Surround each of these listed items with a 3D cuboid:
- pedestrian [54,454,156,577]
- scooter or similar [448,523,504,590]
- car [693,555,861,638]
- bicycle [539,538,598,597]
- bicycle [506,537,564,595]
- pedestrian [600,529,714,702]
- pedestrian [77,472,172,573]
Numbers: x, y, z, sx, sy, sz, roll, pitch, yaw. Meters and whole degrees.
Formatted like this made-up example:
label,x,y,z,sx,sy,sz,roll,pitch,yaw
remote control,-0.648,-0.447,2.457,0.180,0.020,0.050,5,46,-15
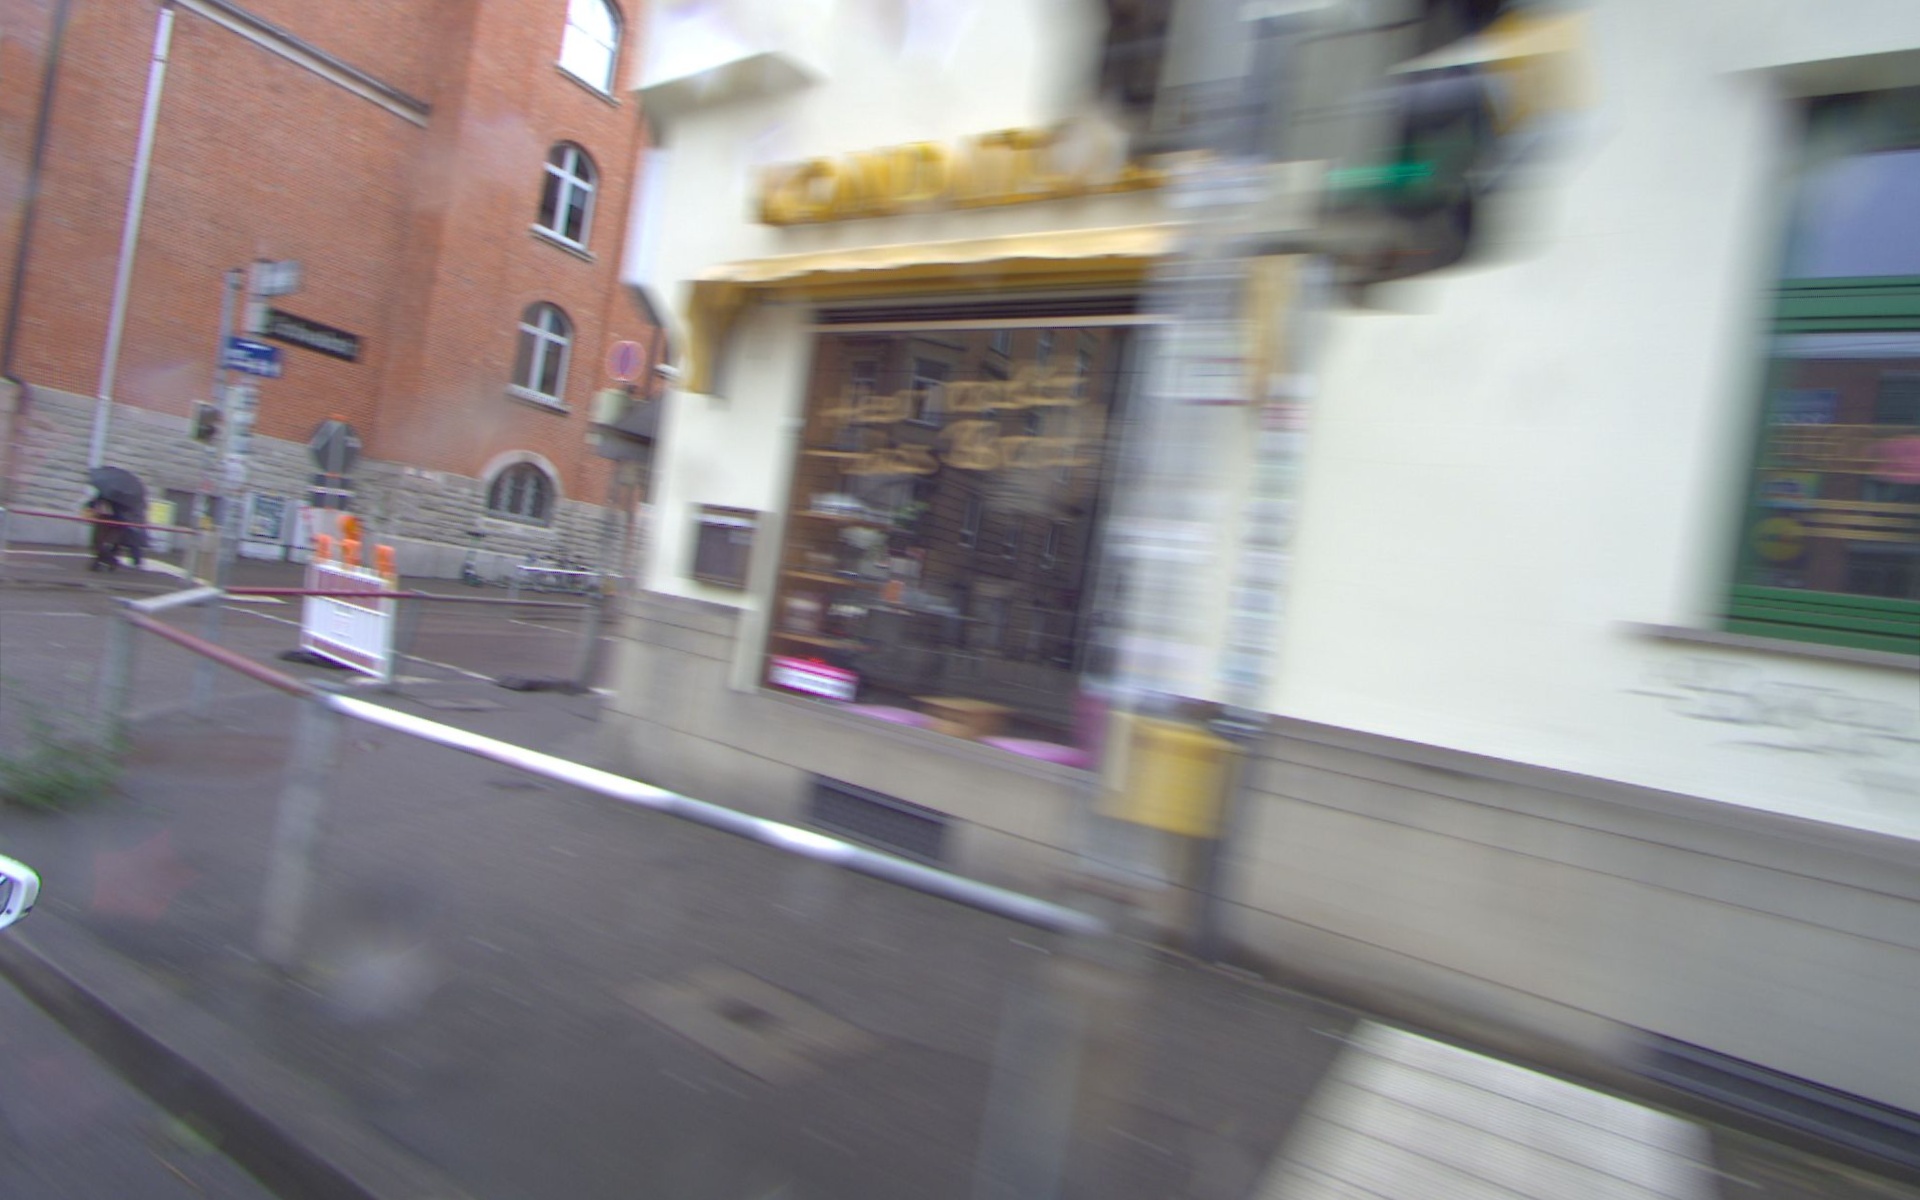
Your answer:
label,x,y,z,sx,sy,sz,roll,pitch,yaw
pedestrian,-14.623,-1.436,17.209,1.056,1.912,0.958,8,2,33
scooter or similar,-11.953,-1.084,24.830,1.493,1.437,0.408,10,3,35
car,-4.369,-0.037,24.540,1.706,1.720,3.987,7,2,32
bicycle,-10.503,-0.880,26.958,1.810,1.262,0.343,14,7,32
bicycle,-11.025,-0.881,26.097,1.639,1.219,0.413,13,6,32
pedestrian,-3.304,0.159,10.922,0.773,1.724,0.989,8,-1,-31
pedestrian,-15.016,-1.383,18.088,1.056,1.646,0.958,7,2,33
